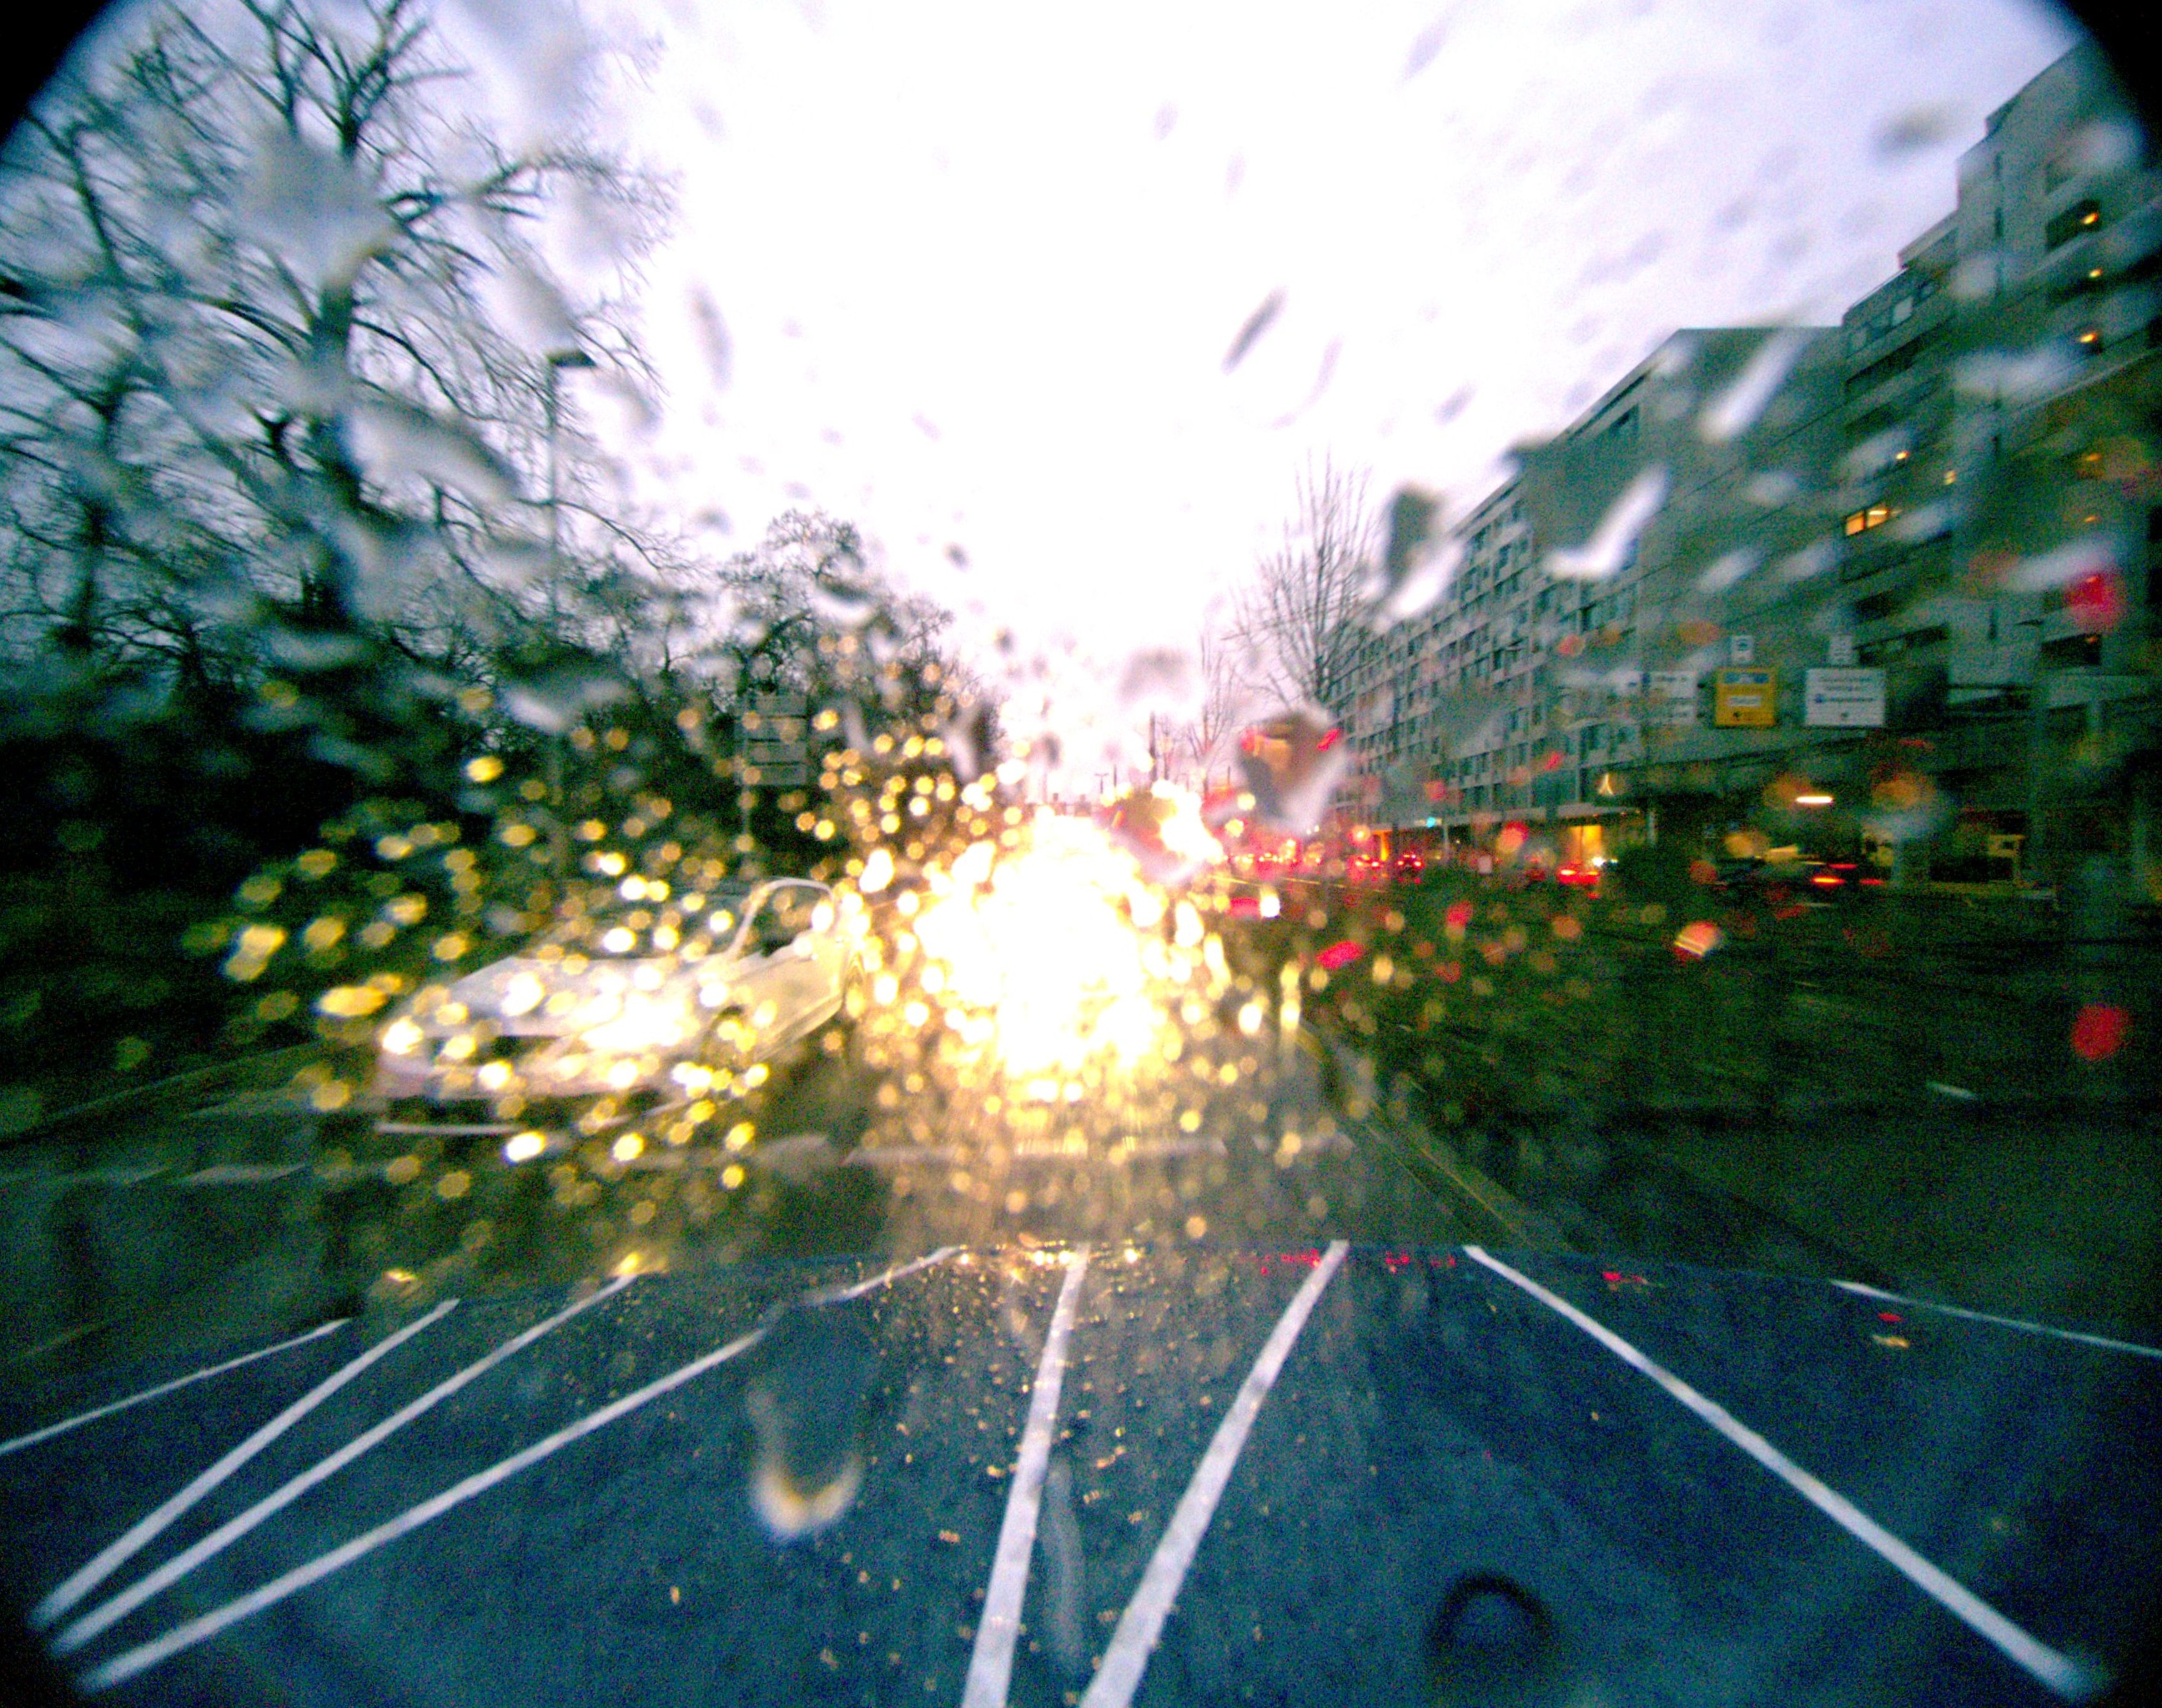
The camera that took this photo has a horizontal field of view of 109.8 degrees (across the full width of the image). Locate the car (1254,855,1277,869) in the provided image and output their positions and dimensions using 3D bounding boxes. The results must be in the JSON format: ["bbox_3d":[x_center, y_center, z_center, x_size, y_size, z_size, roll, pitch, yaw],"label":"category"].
[{"bbox_3d":[20.852,0.855,85.776,1.596,1.440,3.872,0,1,-1],"label":"car"}]

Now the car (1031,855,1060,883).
[{"bbox_3d":[-2.230,0.927,48.702,1.679,1.670,3.864,0,1,0],"label":"car"}]

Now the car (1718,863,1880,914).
[{"bbox_3d":[23.324,1.077,24.895,1.677,1.440,3.766,0,1,-1],"label":"car"}]

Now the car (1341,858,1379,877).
[{"bbox_3d":[23.763,1.112,64.787,1.754,1.440,3.872,0,1,-1],"label":"car"}]

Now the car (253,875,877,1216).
[{"bbox_3d":[-3.043,0.989,5.698,1.778,1.453,4.040,0,1,2],"label":"car"}]

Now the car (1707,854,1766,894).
[{"bbox_3d":[29.521,0.853,34.189,3.785,1.608,1.676,-1,1,-44],"label":"car"}]

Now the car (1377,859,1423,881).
[{"bbox_3d":[23.372,1.153,55.779,1.754,1.440,3.872,0,1,-1],"label":"car"}]

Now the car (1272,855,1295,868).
[{"bbox_3d":[23.578,0.820,88.630,1.596,1.440,3.872,0,1,-1],"label":"car"}]

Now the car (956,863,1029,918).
[{"bbox_3d":[-2.809,1.125,24.917,1.880,1.490,4.076,0,1,0],"label":"car"}]

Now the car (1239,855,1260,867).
[{"bbox_3d":[20.771,0.842,93.784,1.596,1.440,3.872,0,1,-1],"label":"car"}]

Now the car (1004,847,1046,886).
[{"bbox_3d":[-2.575,0.529,35.759,1.679,1.739,3.864,0,1,0],"label":"car"}]

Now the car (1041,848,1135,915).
[{"bbox_3d":[0.168,0.629,19.586,2.160,1.490,4.007,0,1,0],"label":"car"}]

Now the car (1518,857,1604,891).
[{"bbox_3d":[23.624,0.942,37.559,1.754,1.503,3.889,0,1,-1],"label":"car"}]

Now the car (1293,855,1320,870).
[{"bbox_3d":[23.839,0.889,80.390,1.596,1.440,3.872,0,1,-1],"label":"car"}]
